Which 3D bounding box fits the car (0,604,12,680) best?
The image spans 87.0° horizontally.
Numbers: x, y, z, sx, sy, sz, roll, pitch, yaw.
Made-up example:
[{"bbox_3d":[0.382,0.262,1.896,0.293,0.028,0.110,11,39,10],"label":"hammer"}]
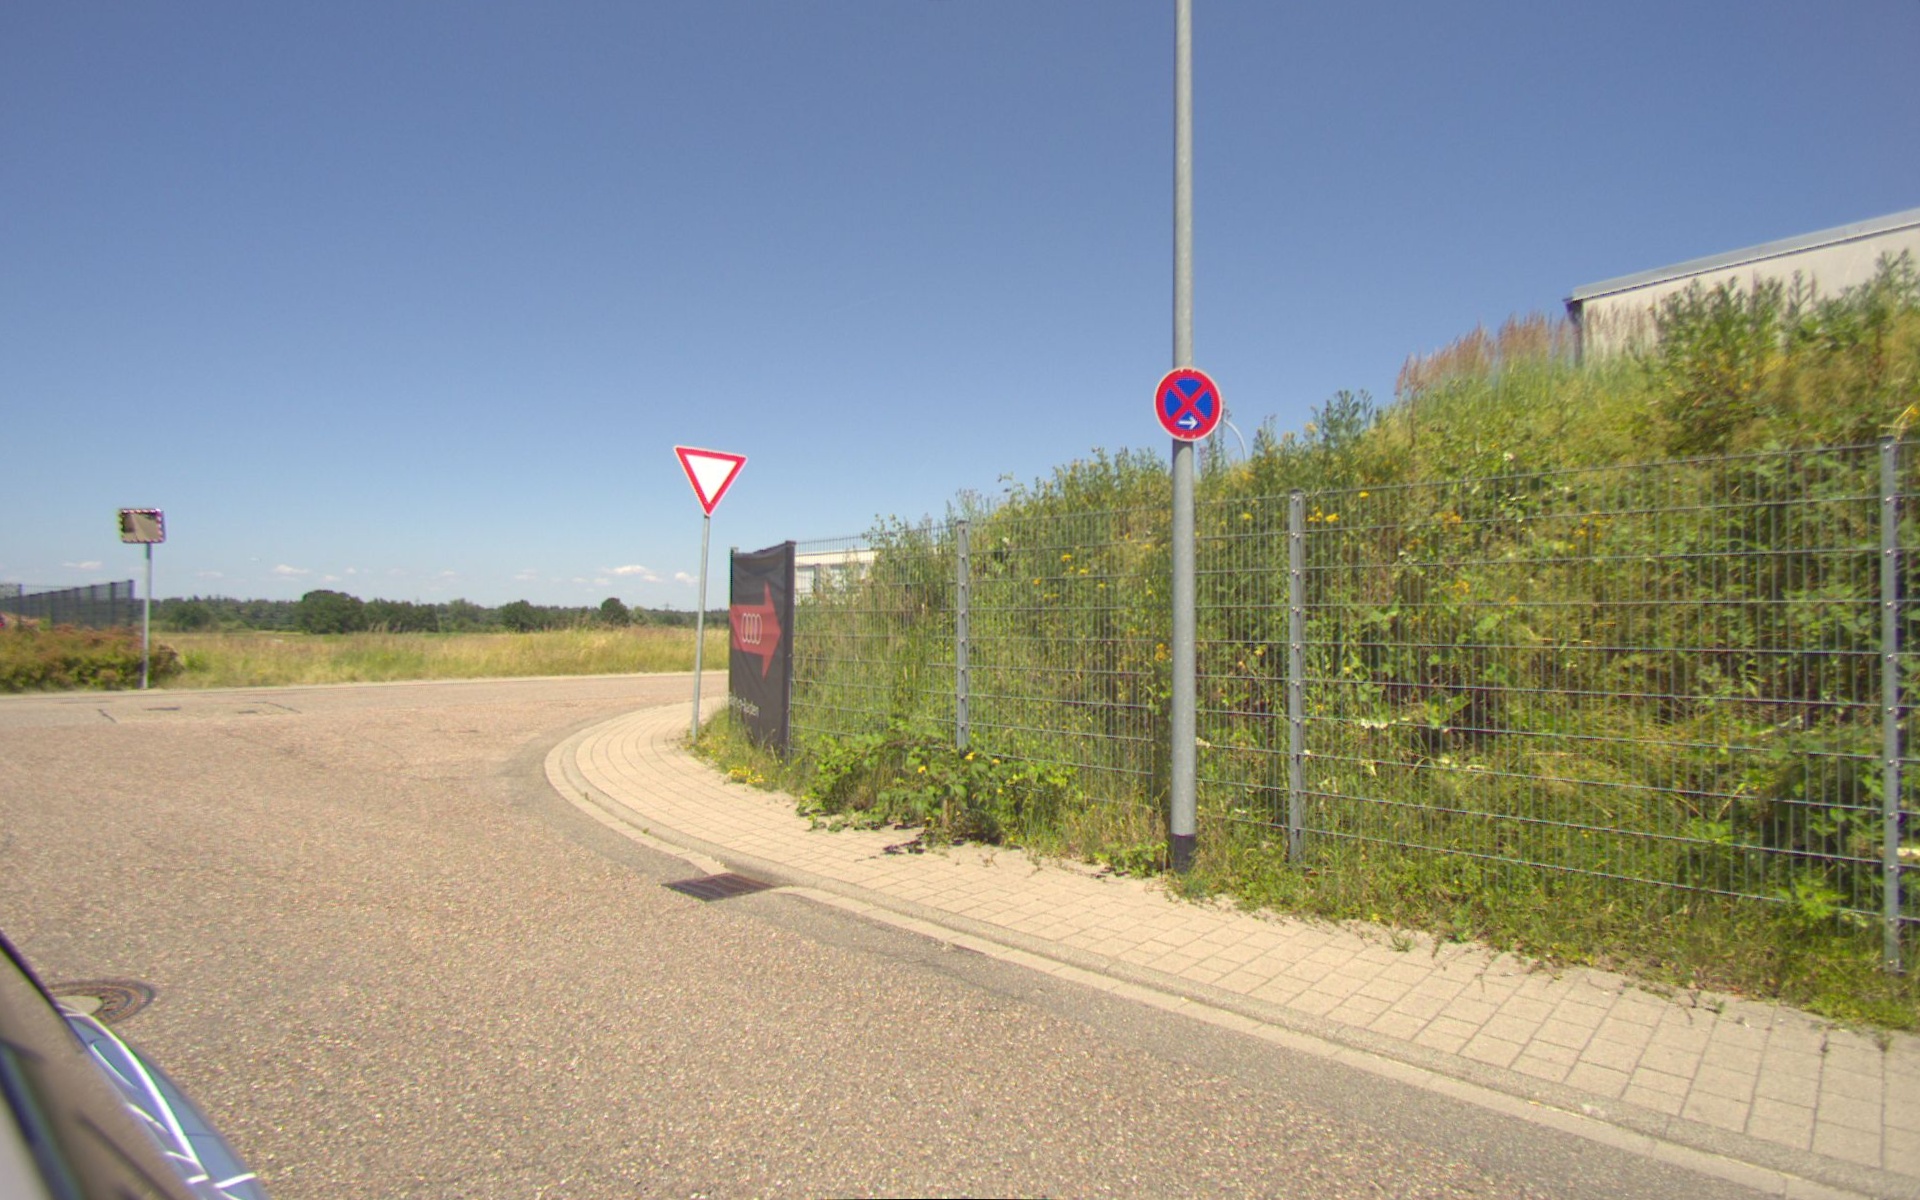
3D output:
[{"bbox_3d":[-20.865,0.811,19.935,1.704,1.532,2.958,-2,-3,39],"label":"car"}]
